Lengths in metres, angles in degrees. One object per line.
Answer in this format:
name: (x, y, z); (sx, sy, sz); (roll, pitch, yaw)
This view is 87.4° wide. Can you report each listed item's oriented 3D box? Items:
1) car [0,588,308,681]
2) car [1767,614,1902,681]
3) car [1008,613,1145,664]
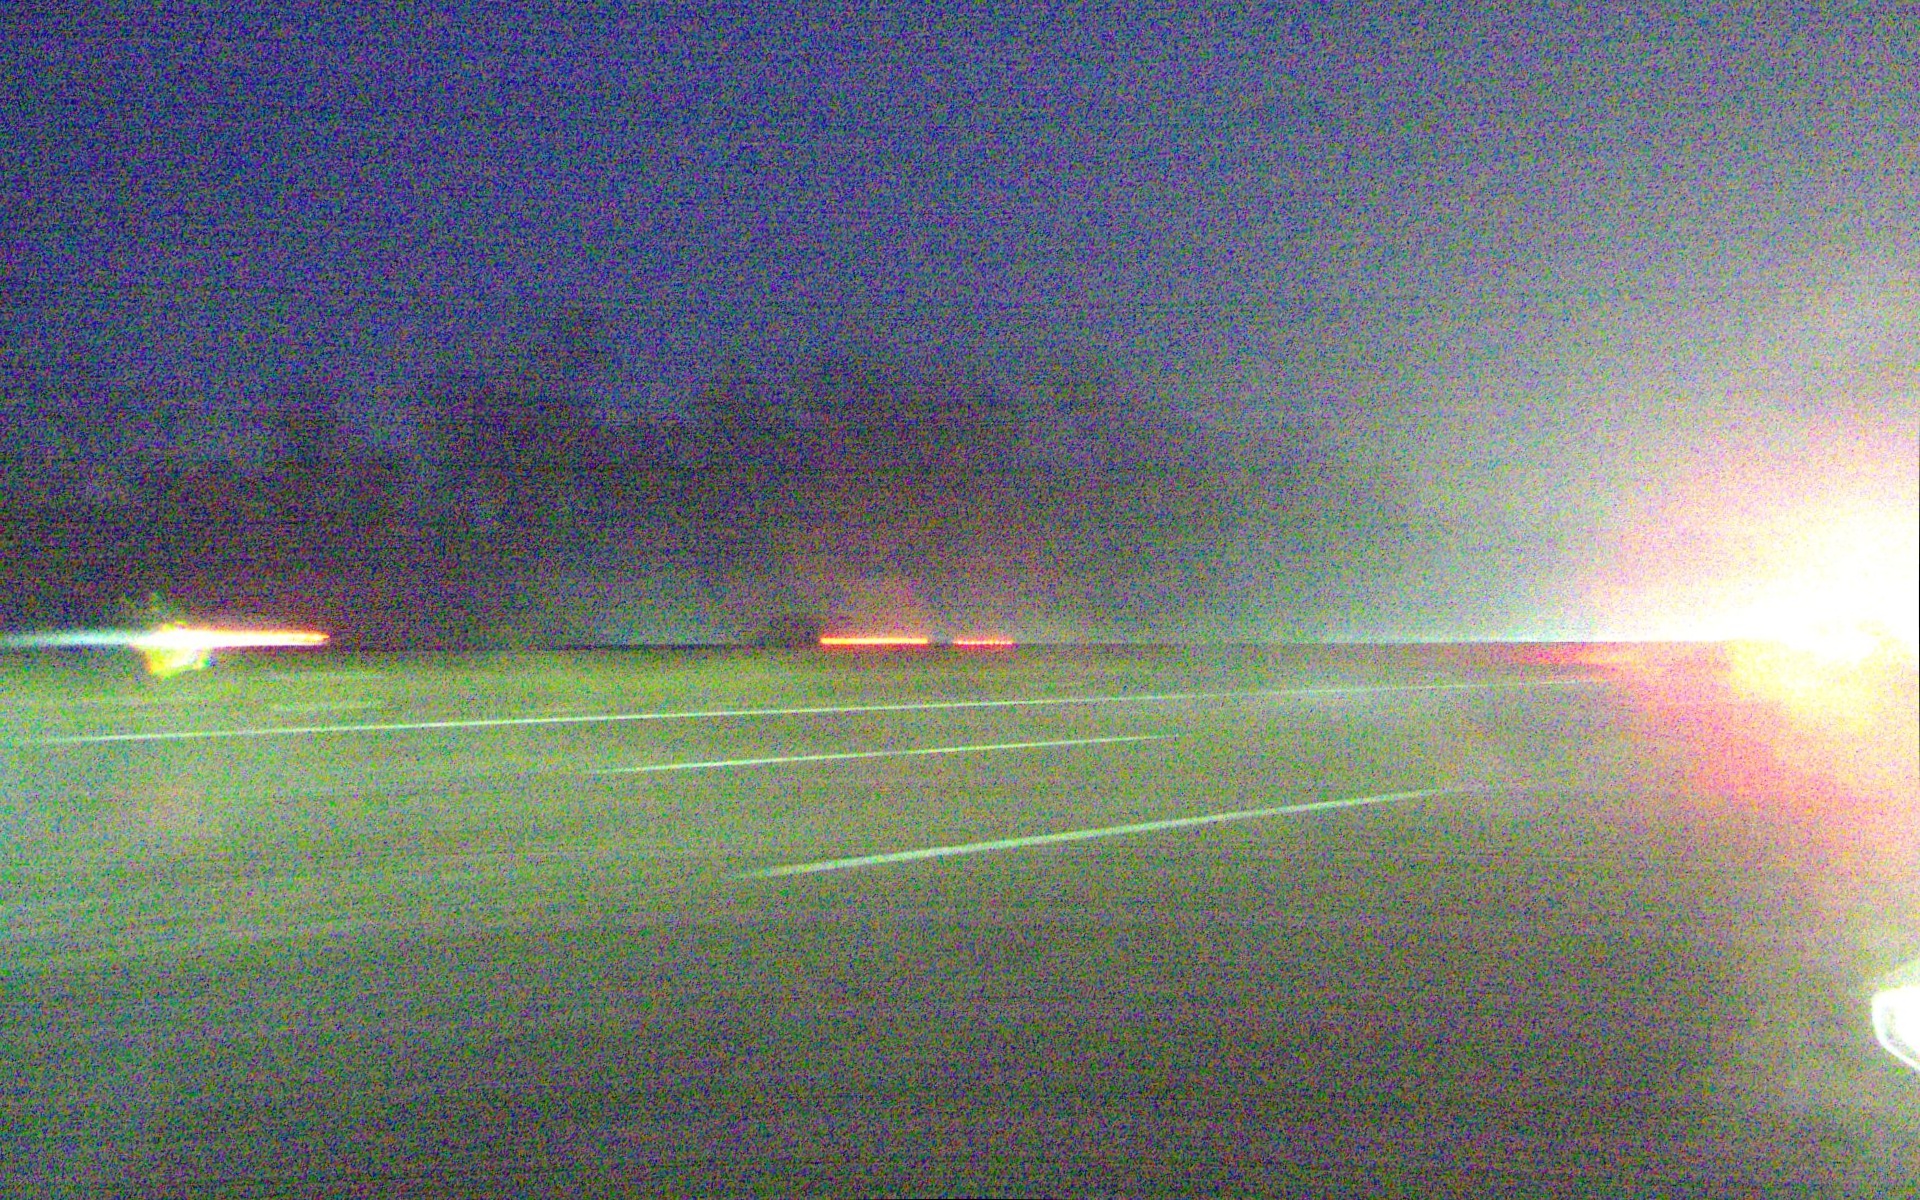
car: (-14.953, 0.635, 18.894); (4.411, 1.578, 1.870); (2, 0, -32)
car: (23.748, 1.259, 27.251); (3.963, 1.617, 1.979); (2, 0, -37)
car: (3.958, 1.303, 33.918); (4.411, 1.578, 1.870); (2, 0, -32)
